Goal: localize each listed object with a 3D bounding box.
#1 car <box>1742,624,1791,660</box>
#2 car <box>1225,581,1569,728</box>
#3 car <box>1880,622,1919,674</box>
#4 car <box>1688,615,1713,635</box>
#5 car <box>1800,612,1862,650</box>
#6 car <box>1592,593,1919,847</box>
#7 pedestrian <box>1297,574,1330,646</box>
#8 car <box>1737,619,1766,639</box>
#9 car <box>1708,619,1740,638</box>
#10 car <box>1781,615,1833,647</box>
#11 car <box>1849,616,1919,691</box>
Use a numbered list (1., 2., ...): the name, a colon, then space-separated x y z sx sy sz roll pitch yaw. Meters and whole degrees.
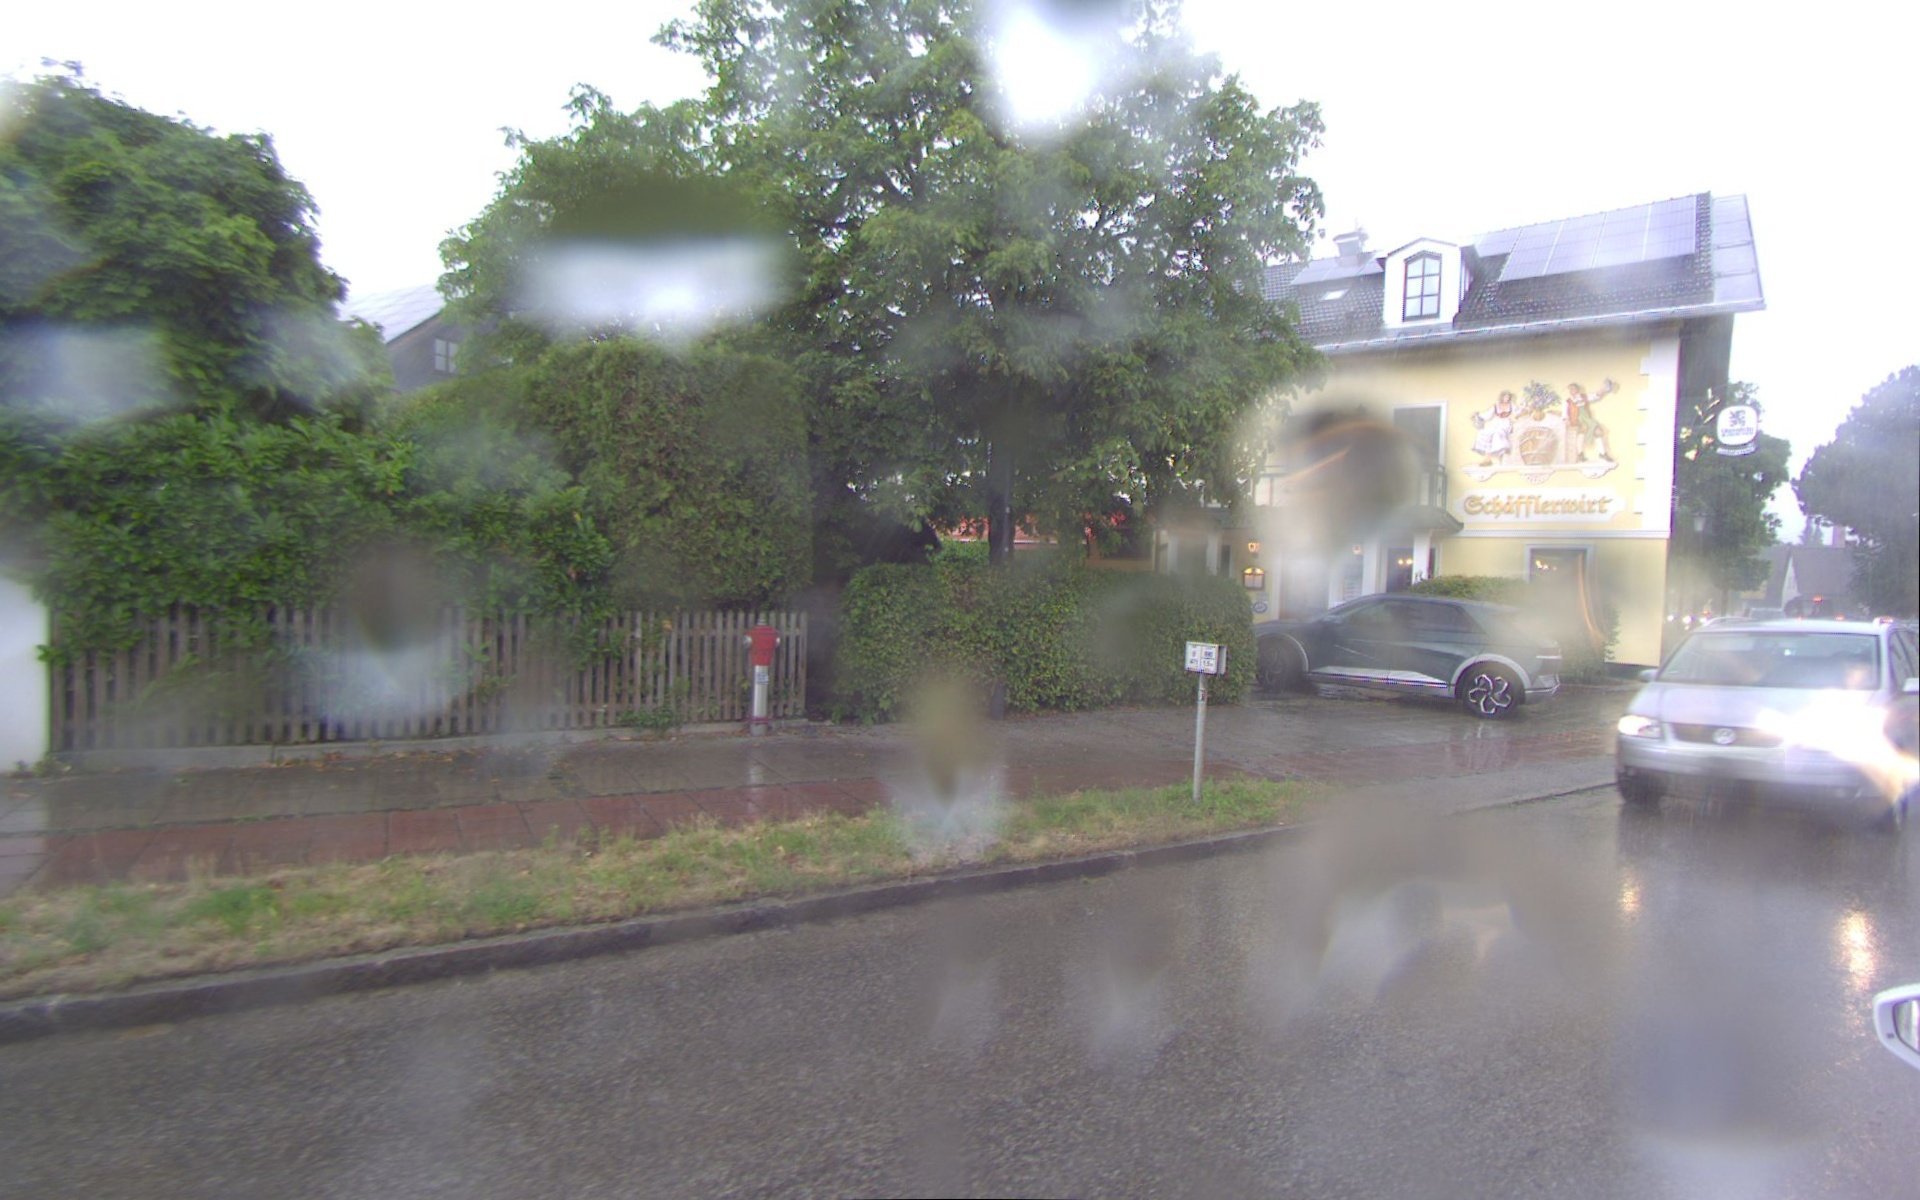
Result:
1. car: 46.905 2.416 58.480 1.825 1.997 4.689 0 -1 34
2. car: 6.485 0.679 15.127 4.414 1.589 1.833 6 5 34
3. car: 39.687 1.976 41.214 2.140 1.925 4.997 3 2 35
4. car: 71.364 2.396 96.786 1.838 1.781 4.467 -2 -2 36
5. car: 51.139 1.780 59.084 2.140 1.925 4.997 3 2 35
6. car: 7.189 0.863 8.651 3.965 1.700 1.740 2 -1 -38
7. pedestrian: 8.641 0.245 24.565 0.485 1.712 0.551 6 4 39
8. car: 87.766 3.211 111.413 2.140 1.925 4.997 3 2 35
9. car: 61.091 2.247 80.361 1.838 1.377 4.468 0 0 35
10. car: 57.791 2.067 68.613 2.140 1.925 4.997 3 2 35
11. car: 22.125 1.216 23.538 1.566 1.631 3.526 1 -1 36
